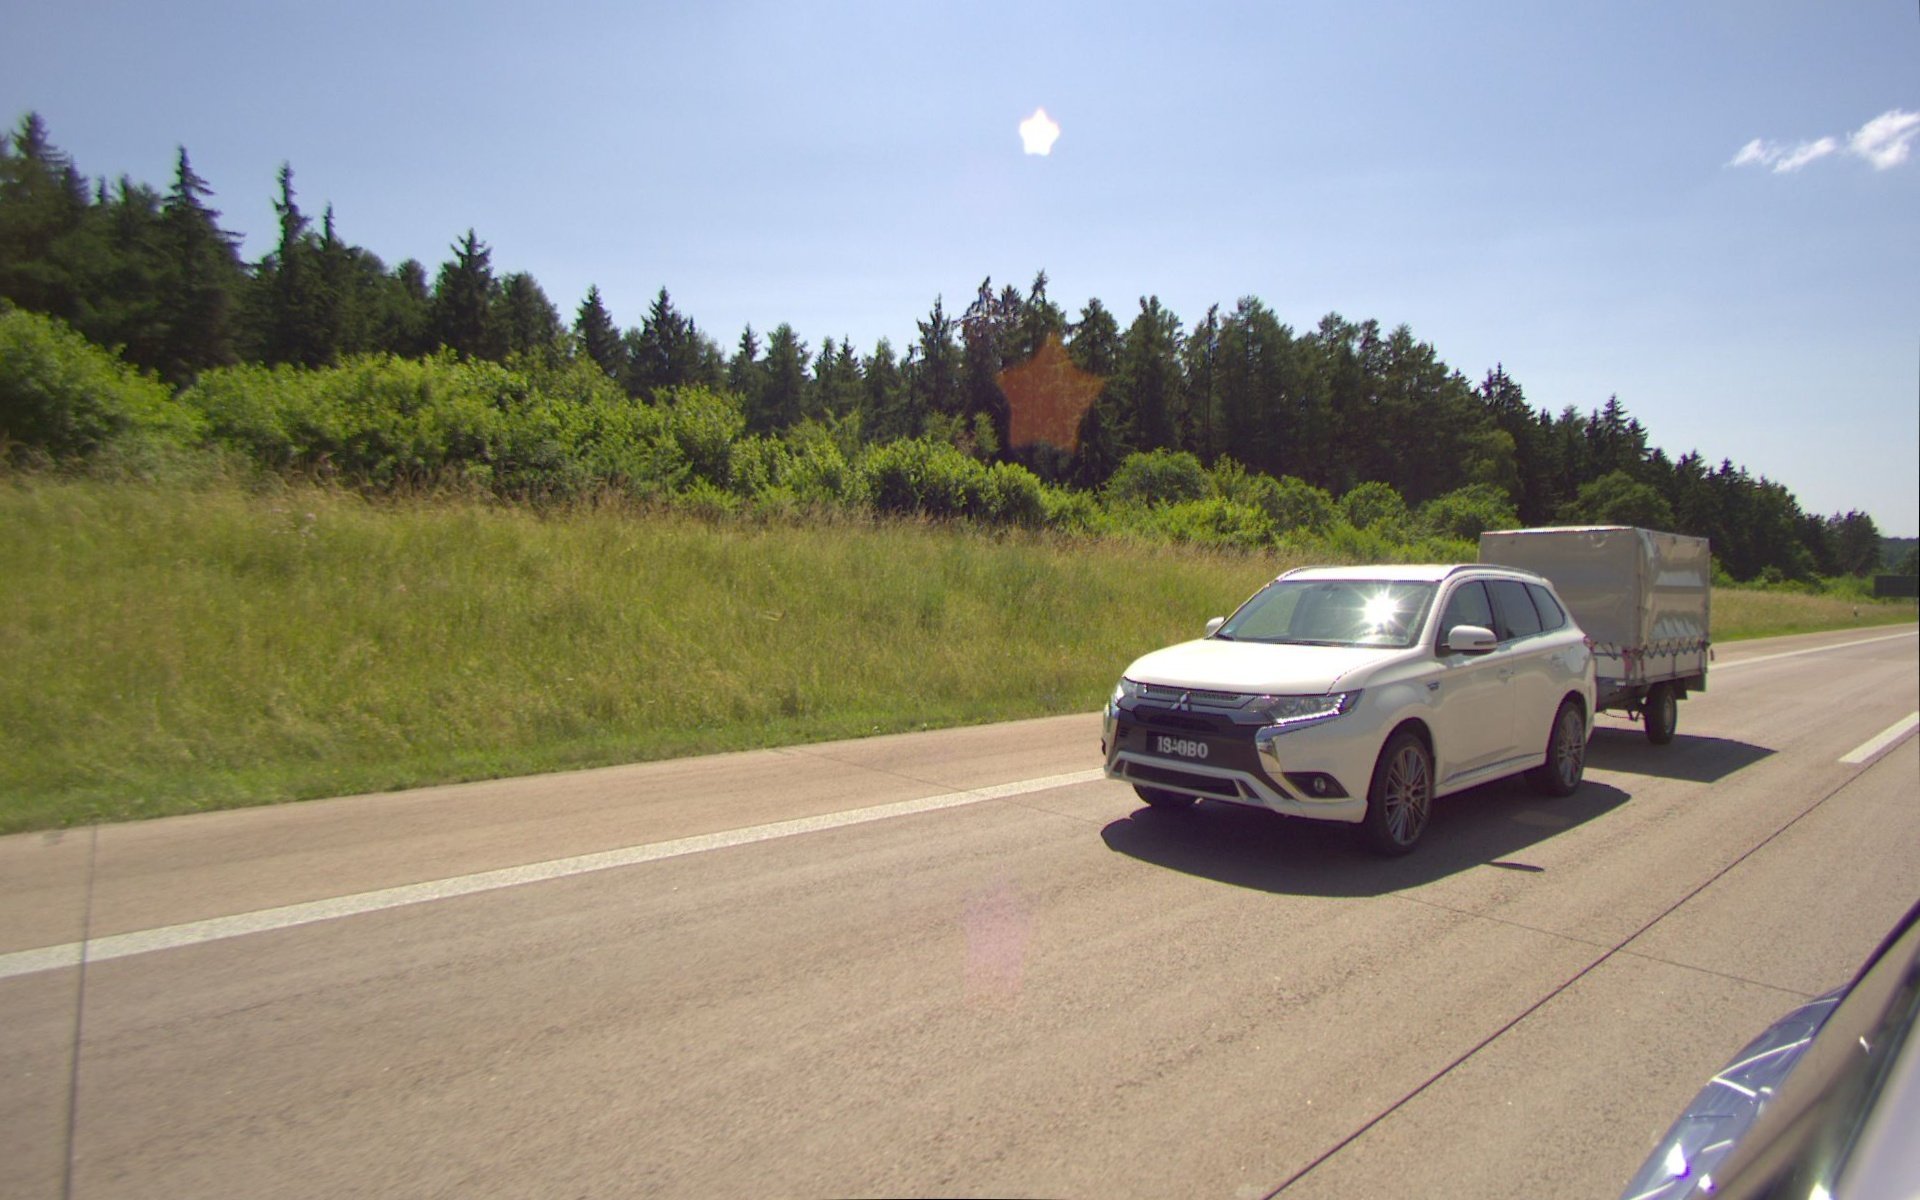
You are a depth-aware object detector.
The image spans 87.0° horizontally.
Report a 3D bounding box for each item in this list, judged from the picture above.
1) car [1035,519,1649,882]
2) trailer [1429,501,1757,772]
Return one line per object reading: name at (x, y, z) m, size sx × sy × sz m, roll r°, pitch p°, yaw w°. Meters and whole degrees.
car at (3.016, 0.452, 7.257) m, size 5.094 × 1.750 × 1.894 m, roll 0°, pitch 1°, yaw -40°
trailer at (6.423, 0.276, 10.105) m, size 3.945 × 2.191 × 1.661 m, roll 0°, pitch 0°, yaw -40°
